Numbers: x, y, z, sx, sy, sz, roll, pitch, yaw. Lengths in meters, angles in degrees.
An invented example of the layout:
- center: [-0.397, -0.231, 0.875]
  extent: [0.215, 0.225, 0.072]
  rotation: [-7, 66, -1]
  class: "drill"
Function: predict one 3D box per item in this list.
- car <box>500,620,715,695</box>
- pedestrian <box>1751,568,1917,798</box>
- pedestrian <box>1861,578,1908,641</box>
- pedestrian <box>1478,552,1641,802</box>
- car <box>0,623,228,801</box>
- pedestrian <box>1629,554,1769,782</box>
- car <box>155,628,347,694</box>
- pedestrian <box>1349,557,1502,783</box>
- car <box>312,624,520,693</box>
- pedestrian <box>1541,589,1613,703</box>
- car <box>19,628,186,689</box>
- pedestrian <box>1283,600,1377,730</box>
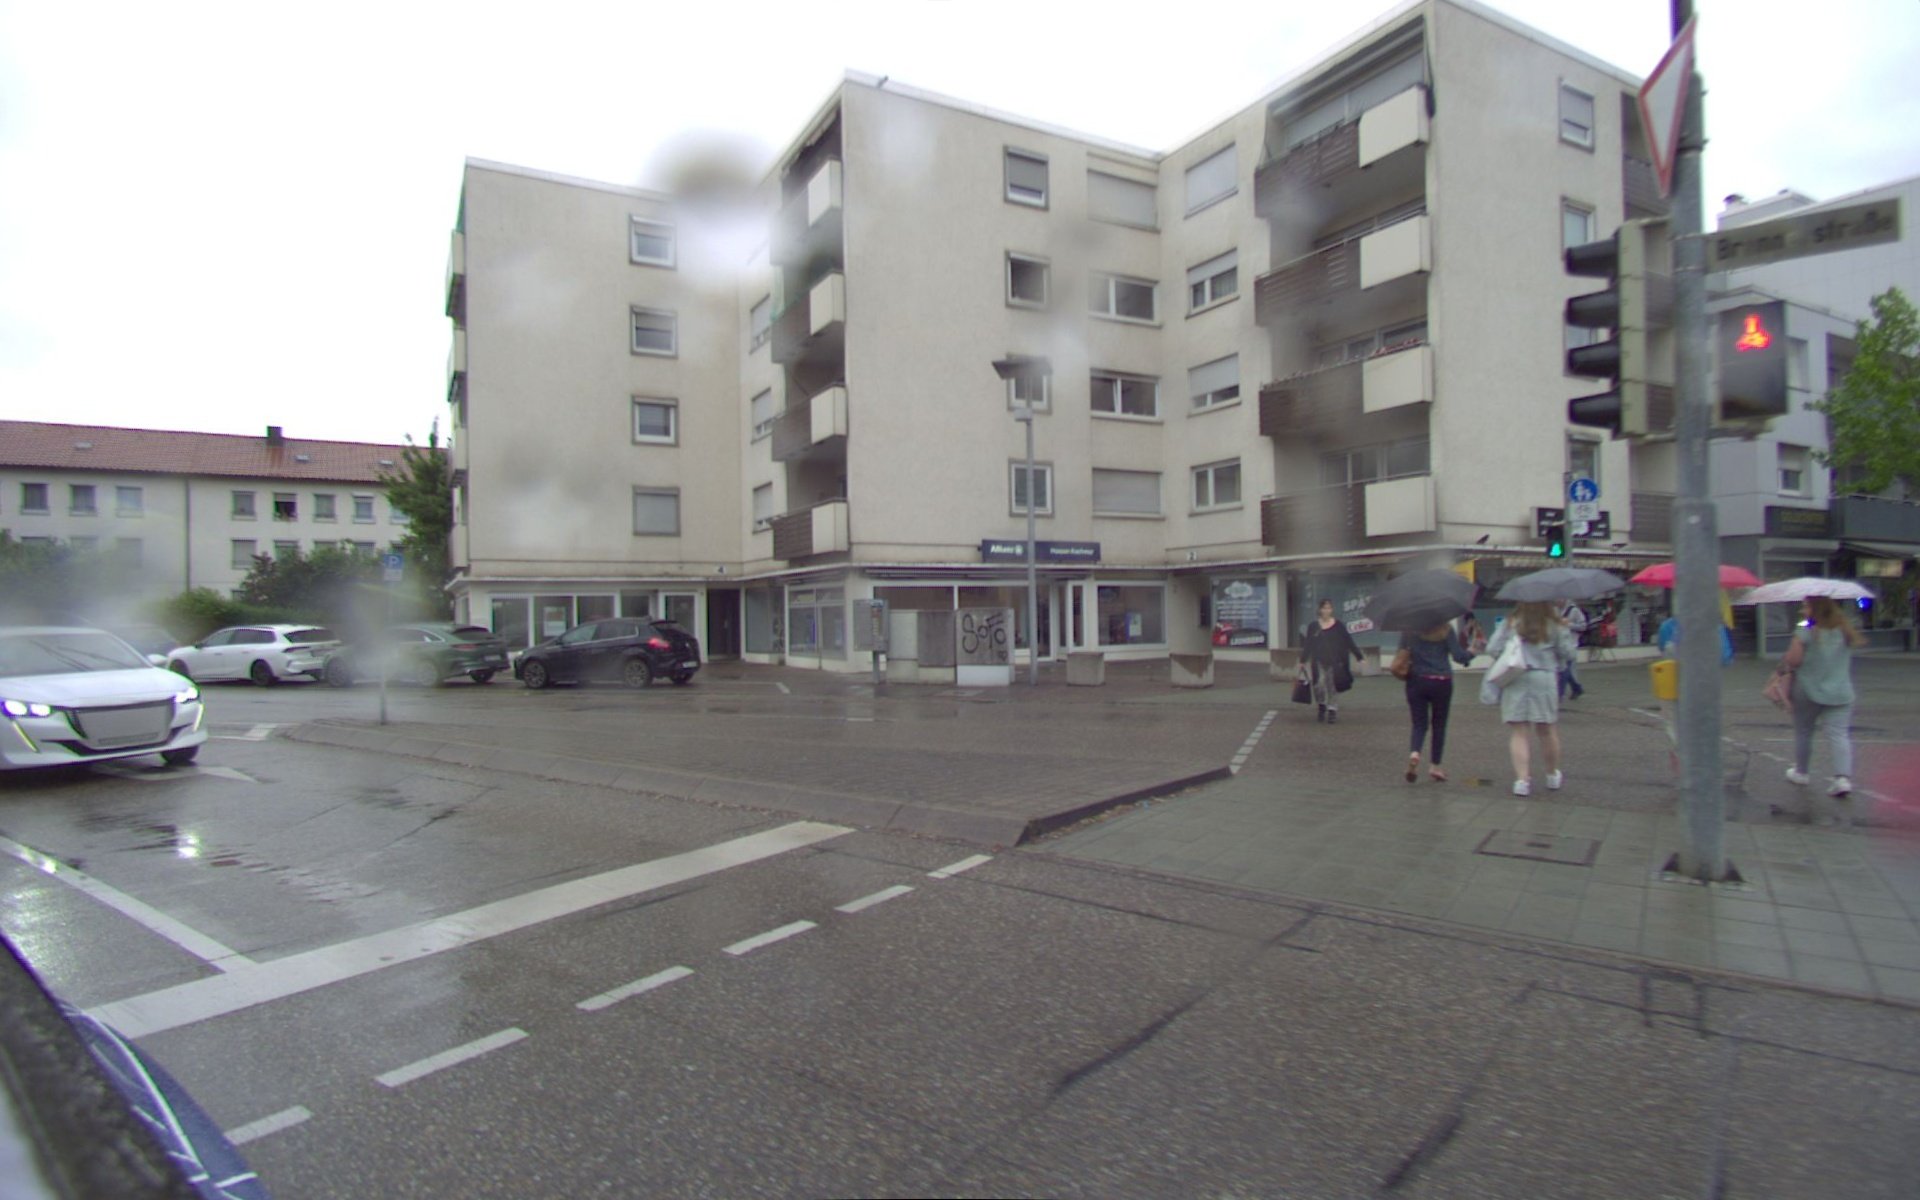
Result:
- center: [-7.620, 1.211, 21.951]
  extent: [4.152, 1.471, 1.827]
  rotation: [-1, 0, 17]
  class: "car"
- center: [6.924, 0.617, 8.080]
  extent: [0.915, 1.690, 0.926]
  rotation: [-1, -1, 38]
  class: "pedestrian"
- center: [30.336, 0.303, 33.218]
  extent: [0.909, 2.029, 0.877]
  rotation: [0, -1, -32]
  class: "pedestrian"
- center: [4.645, 0.547, 7.827]
  extent: [0.860, 1.757, 1.122]
  rotation: [-2, -1, 42]
  class: "pedestrian"
- center: [-9.381, 1.018, 10.248]
  extent: [3.880, 1.420, 1.727]
  rotation: [-2, 0, 30]
  class: "car"
- center: [5.889, 0.517, 8.072]
  extent: [0.807, 1.698, 0.664]
  rotation: [-1, -2, 43]
  class: "pedestrian"
- center: [-17.631, 1.489, 25.190]
  extent: [4.309, 1.511, 1.629]
  rotation: [-1, -1, 17]
  class: "car"
- center: [3.900, 0.549, 8.478]
  extent: [0.954, 1.749, 0.825]
  rotation: [-1, -1, 42]
  class: "pedestrian"
- center: [-12.678, 1.329, 23.627]
  extent: [4.236, 1.445, 1.828]
  rotation: [-1, 0, 17]
  class: "car"
- center: [9.377, 0.680, 15.379]
  extent: [0.814, 1.668, 0.705]
  rotation: [-2, -1, 41]
  class: "pedestrian"
- center: [-22.845, 1.541, 26.976]
  extent: [3.848, 1.517, 1.625]
  rotation: [-1, -1, 17]
  class: "car"
- center: [4.727, 0.806, 12.945]
  extent: [0.914, 1.597, 0.648]
  rotation: [-2, -2, 44]
  class: "pedestrian"
